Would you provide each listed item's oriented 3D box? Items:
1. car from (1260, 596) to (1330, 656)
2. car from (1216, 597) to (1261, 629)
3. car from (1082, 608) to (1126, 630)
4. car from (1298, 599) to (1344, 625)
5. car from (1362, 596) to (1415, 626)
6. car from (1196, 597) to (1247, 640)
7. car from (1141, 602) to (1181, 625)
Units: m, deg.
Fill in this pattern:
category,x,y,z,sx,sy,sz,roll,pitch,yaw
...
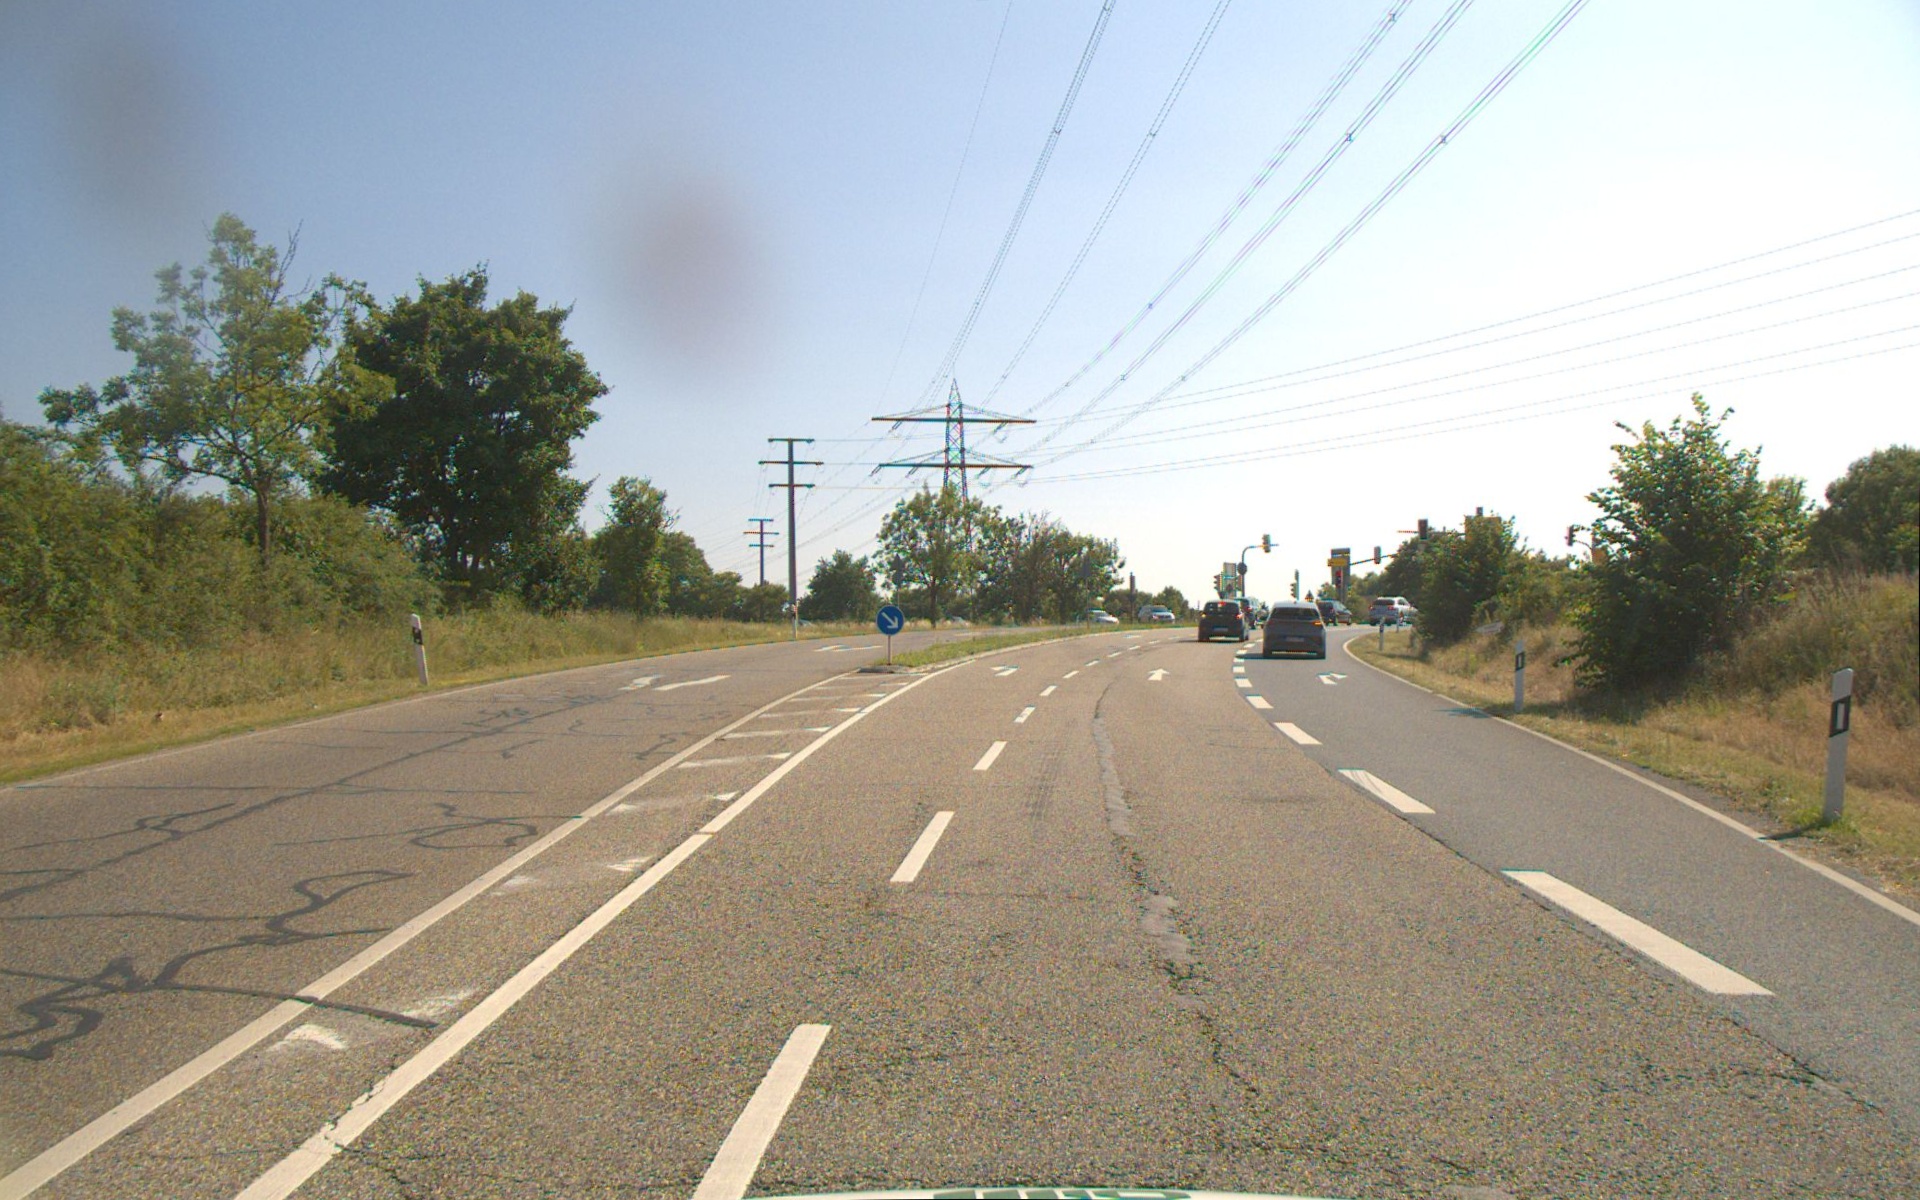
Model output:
category,x,y,z,sx,sy,sz,roll,pitch,yaw
car,9.412,0.698,46.759,1.735,1.543,4.103,2,1,9
car,14.149,0.636,83.994,1.705,1.596,3.625,0,0,19
car,11.526,1.519,132.630,1.791,1.680,3.967,0,-1,-25
car,21.726,0.712,99.442,1.710,1.510,3.617,1,-1,30
car,25.319,0.649,97.609,1.608,1.706,3.729,0,-1,40
car,9.429,0.647,59.483,1.598,1.473,3.297,0,0,13
car,14.826,1.016,122.420,1.782,1.680,3.989,0,-1,-11
